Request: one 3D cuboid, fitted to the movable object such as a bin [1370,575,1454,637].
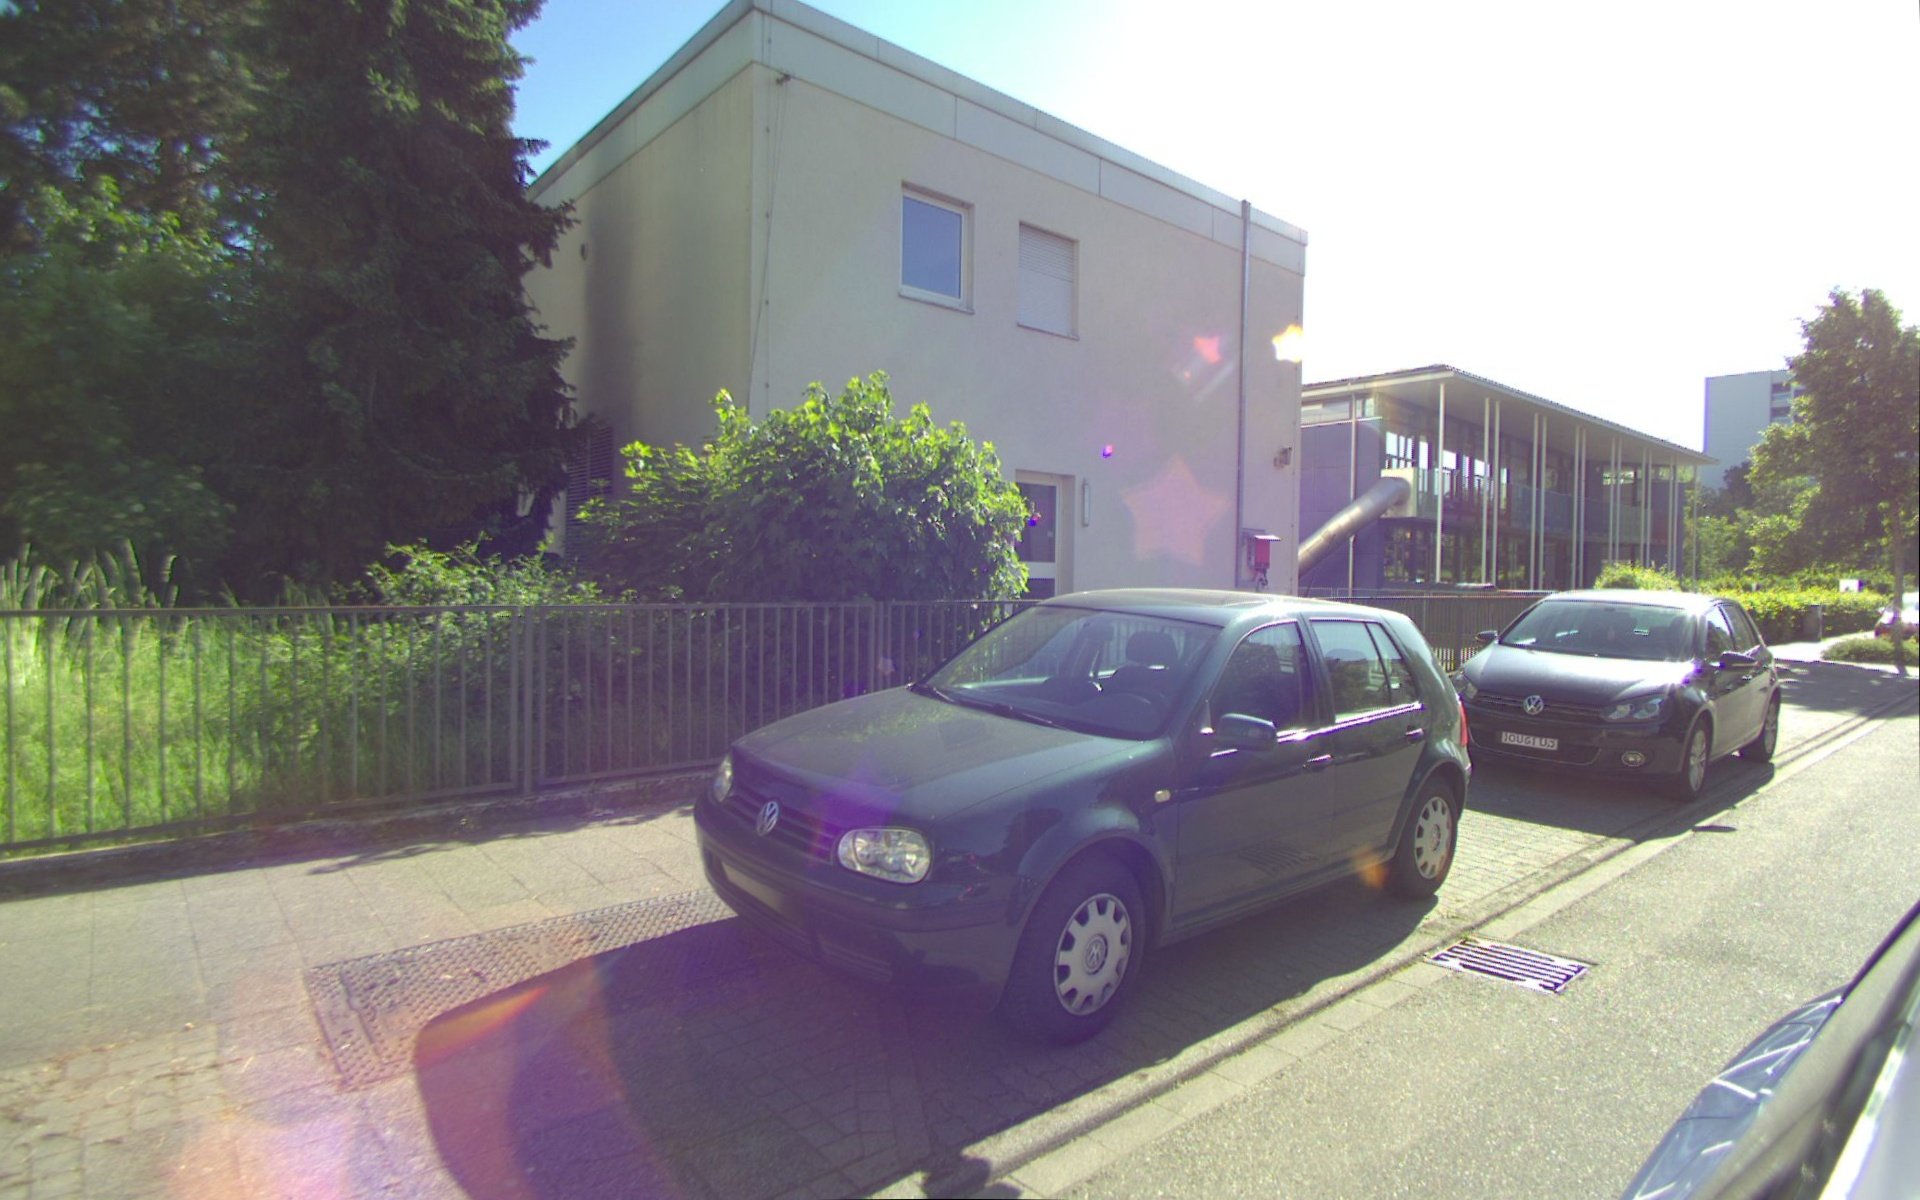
[{"bbox_3d":[11.213,0.119,25.111,1.602,1.466,1.333,0,2,-40],"label":"movable object such as a bin"}]

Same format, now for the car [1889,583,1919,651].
[{"bbox_3d":[23.446,0.395,24.023,3.780,1.522,1.678,0,2,-42],"label":"car"}]

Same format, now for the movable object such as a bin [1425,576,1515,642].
[{"bbox_3d":[12.087,0.186,23.997,1.602,1.466,1.369,0,2,-40],"label":"movable object such as a bin"}]

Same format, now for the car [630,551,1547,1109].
[{"bbox_3d":[0.925,0.539,4.686,4.346,1.439,1.750,-1,2,-40],"label":"car"}]

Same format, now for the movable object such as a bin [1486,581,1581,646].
[{"bbox_3d":[12.960,0.277,22.862,1.602,1.374,1.369,0,2,-40],"label":"movable object such as a bin"}]

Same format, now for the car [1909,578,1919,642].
[{"bbox_3d":[27.615,0.289,27.640,4.333,1.703,1.905,-1,4,-40],"label":"car"}]

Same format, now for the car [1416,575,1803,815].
[{"bbox_3d":[5.646,0.596,8.604,3.932,1.534,1.786,0,2,-42],"label":"car"}]

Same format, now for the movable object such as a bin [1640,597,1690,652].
[{"bbox_3d":[14.584,0.499,20.927,0.962,1.083,0.633,-1,1,-41],"label":"movable object such as a bin"}]
